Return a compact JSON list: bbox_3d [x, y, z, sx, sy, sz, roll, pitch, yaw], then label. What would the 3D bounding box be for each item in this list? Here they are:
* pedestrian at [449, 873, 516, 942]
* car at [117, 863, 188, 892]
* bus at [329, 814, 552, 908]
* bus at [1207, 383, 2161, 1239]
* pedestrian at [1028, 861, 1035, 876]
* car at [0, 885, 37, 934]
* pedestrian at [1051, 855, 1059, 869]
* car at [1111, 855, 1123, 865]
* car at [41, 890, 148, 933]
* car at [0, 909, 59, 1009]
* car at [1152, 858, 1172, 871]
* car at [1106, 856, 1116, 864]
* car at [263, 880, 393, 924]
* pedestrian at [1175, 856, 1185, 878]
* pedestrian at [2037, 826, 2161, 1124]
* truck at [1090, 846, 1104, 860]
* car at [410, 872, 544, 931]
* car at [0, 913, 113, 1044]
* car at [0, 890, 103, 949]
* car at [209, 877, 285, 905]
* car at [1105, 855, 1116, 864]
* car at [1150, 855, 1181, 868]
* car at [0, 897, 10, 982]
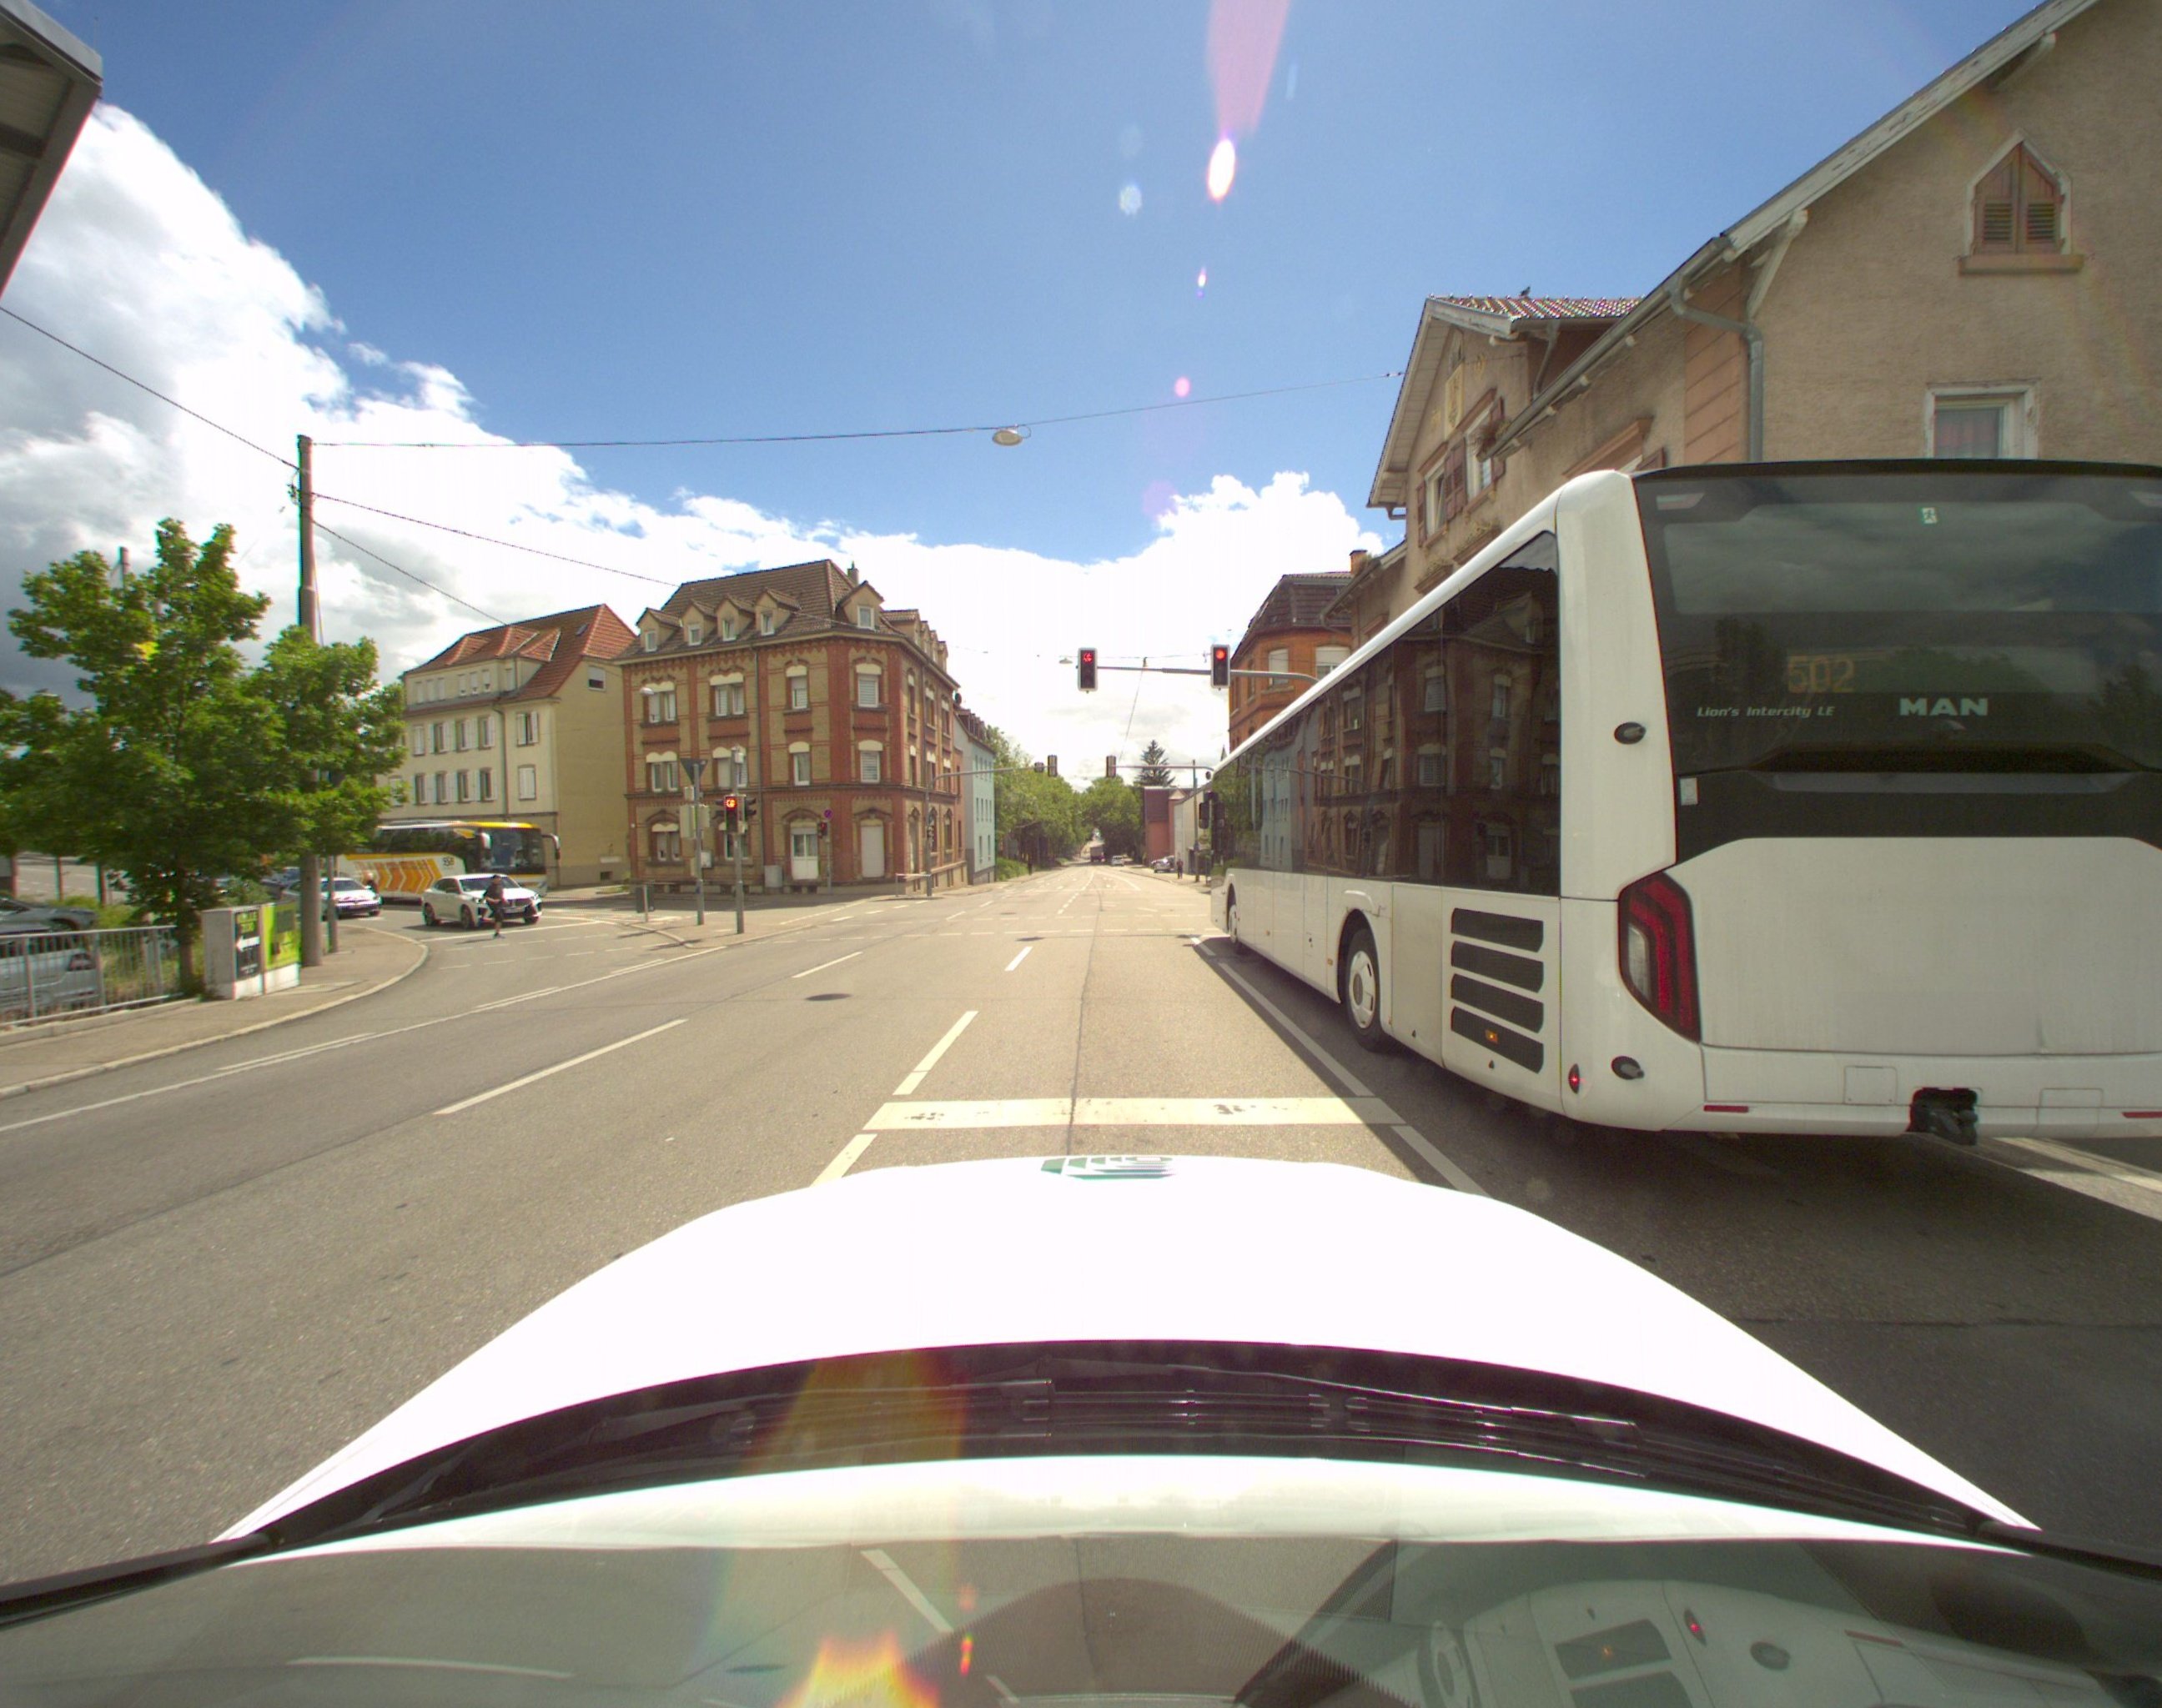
[{"bbox_3d":[-15.551,1.376,21.183,1.138,1.734,0.758,-2,0,-3],"label":"pedestrian"},{"bbox_3d":[-53.717,1.378,47.102,3.949,1.554,1.923,-2,0,29],"label":"car"},{"bbox_3d":[-28.052,0.379,35.381,12.109,3.622,2.788,-1,0,27],"label":"bus"},{"bbox_3d":[3.561,-0.151,9.286,2.662,3.155,12.467,-2,0,2],"label":"bus"},{"bbox_3d":[-5.446,1.585,89.727,0.727,1.565,0.561,-1,-1,0],"label":"pedestrian"},{"bbox_3d":[-36.306,1.834,25.563,1.785,1.554,4.023,-2,0,25],"label":"car"},{"bbox_3d":[-3.799,1.196,119.806,0.991,2.013,1.189,-2,0,1],"label":"pedestrian"},{"bbox_3d":[5.743,0.955,129.597,1.787,1.409,4.001,-1,0,2],"label":"car"},{"bbox_3d":[-37.319,2.137,30.799,3.456,1.448,1.811,-2,0,26],"label":"car"},{"bbox_3d":[-19.569,1.840,14.175,3.455,1.526,1.626,-1,2,29],"label":"car"},{"bbox_3d":[9.225,1.179,93.025,1.788,1.409,4.000,-2,0,1],"label":"car"},{"bbox_3d":[5.741,1.129,154.021,1.787,1.409,4.421,-1,0,3],"label":"car"},{"bbox_3d":[-27.064,1.710,29.281,3.580,1.418,1.893,-2,0,18],"label":"car"},{"bbox_3d":[8.151,1.081,67.253,0.736,1.750,0.619,-2,0,1],"label":"pedestrian"},{"bbox_3d":[6.085,0.624,4.434,0.856,1.562,0.712,-2,-1,1],"label":"pedestrian"},{"bbox_3d":[3.586,-0.215,188.329,2.917,3.081,7.883,-2,0,0],"label":"truck"},{"bbox_3d":[-18.493,1.461,24.903,4.250,1.552,1.845,-4,-1,32],"label":"car"},{"bbox_3d":[-15.998,1.795,12.029,3.321,1.560,1.692,0,2,32],"label":"car"},{"bbox_3d":[-29.485,1.820,22.114,1.777,1.477,3.522,-2,0,32],"label":"car"},{"bbox_3d":[-45.727,2.019,44.642,3.949,1.409,1.923,-2,0,29],"label":"car"},{"bbox_3d":[5.282,0.992,145.863,1.787,1.409,4.421,-1,0,3],"label":"car"},{"bbox_3d":[11.772,1.048,113.081,3.978,1.757,1.998,-2,0,-3],"label":"car"},{"bbox_3d":[-23.582,1.764,16.573,3.455,1.680,1.663,-1,2,30],"label":"car"}]
